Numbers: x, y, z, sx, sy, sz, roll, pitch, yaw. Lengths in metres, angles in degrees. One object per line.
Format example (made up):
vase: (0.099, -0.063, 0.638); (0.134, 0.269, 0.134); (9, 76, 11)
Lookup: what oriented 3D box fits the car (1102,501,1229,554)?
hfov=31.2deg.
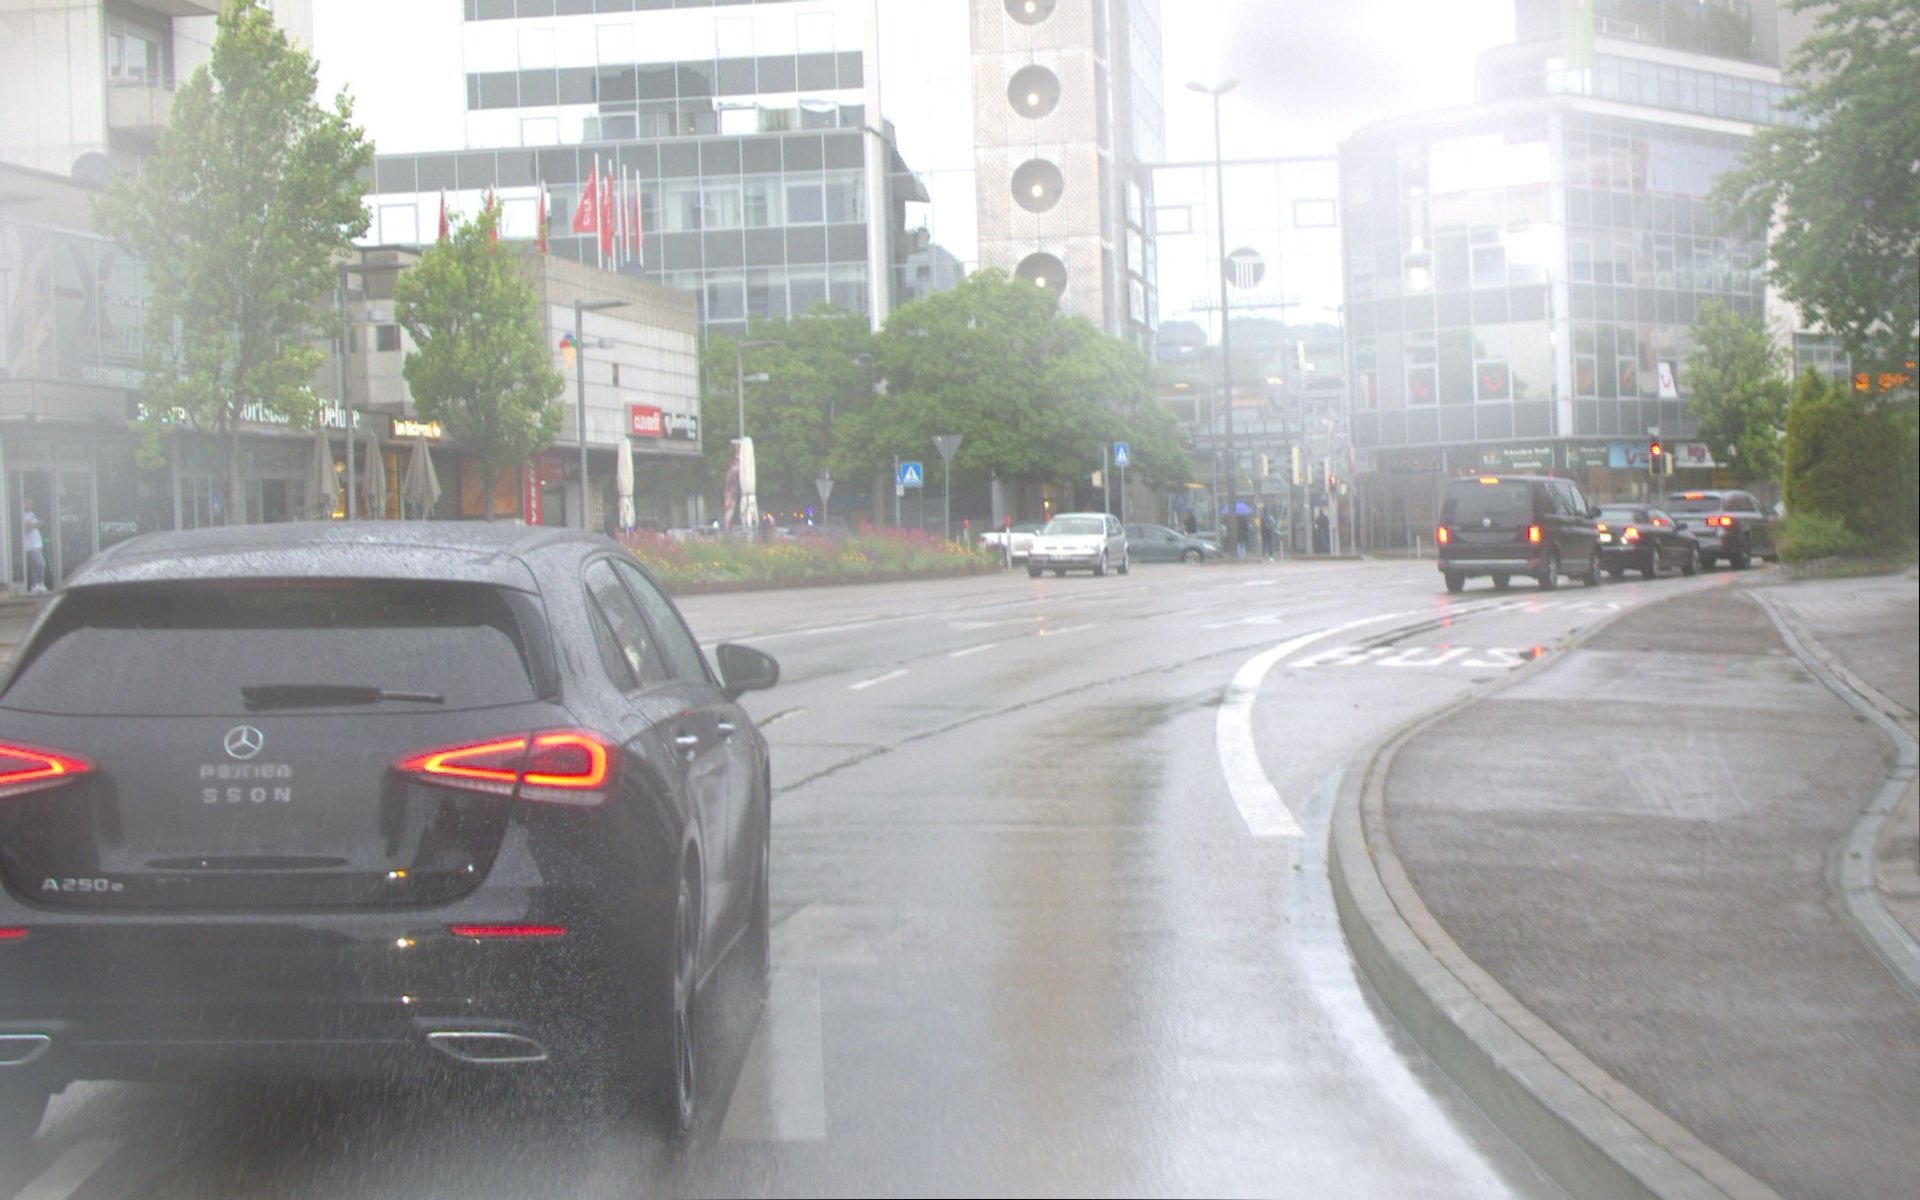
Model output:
car: (6.498, -2.289, 108.585); (3.881, 1.512, 1.785); (-2, 2, 7)

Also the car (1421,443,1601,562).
car: (9.552, -1.706, 59.347); (2.045, 1.889, 4.134); (-1, 3, 24)

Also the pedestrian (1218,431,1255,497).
pedestrian: (7.459, -3.666, 92.600); (0.806, 1.748, 0.812); (-1, 2, 15)

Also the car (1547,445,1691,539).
car: (12.665, -2.092, 65.891); (1.889, 1.666, 3.996); (-1, 3, 23)

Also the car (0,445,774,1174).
car: (-1.431, 0.362, 9.215); (1.662, 1.476, 4.095); (-2, 2, -1)

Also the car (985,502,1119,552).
car: (2.856, -2.254, 105.972); (3.988, 1.379, 1.728); (-2, 2, 6)

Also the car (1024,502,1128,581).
car: (2.626, -1.339, 77.311); (1.693, 1.626, 3.510); (-1, 2, 12)

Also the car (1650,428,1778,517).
car: (15.782, -2.683, 71.849); (1.912, 1.719, 3.805); (-1, 3, 23)
